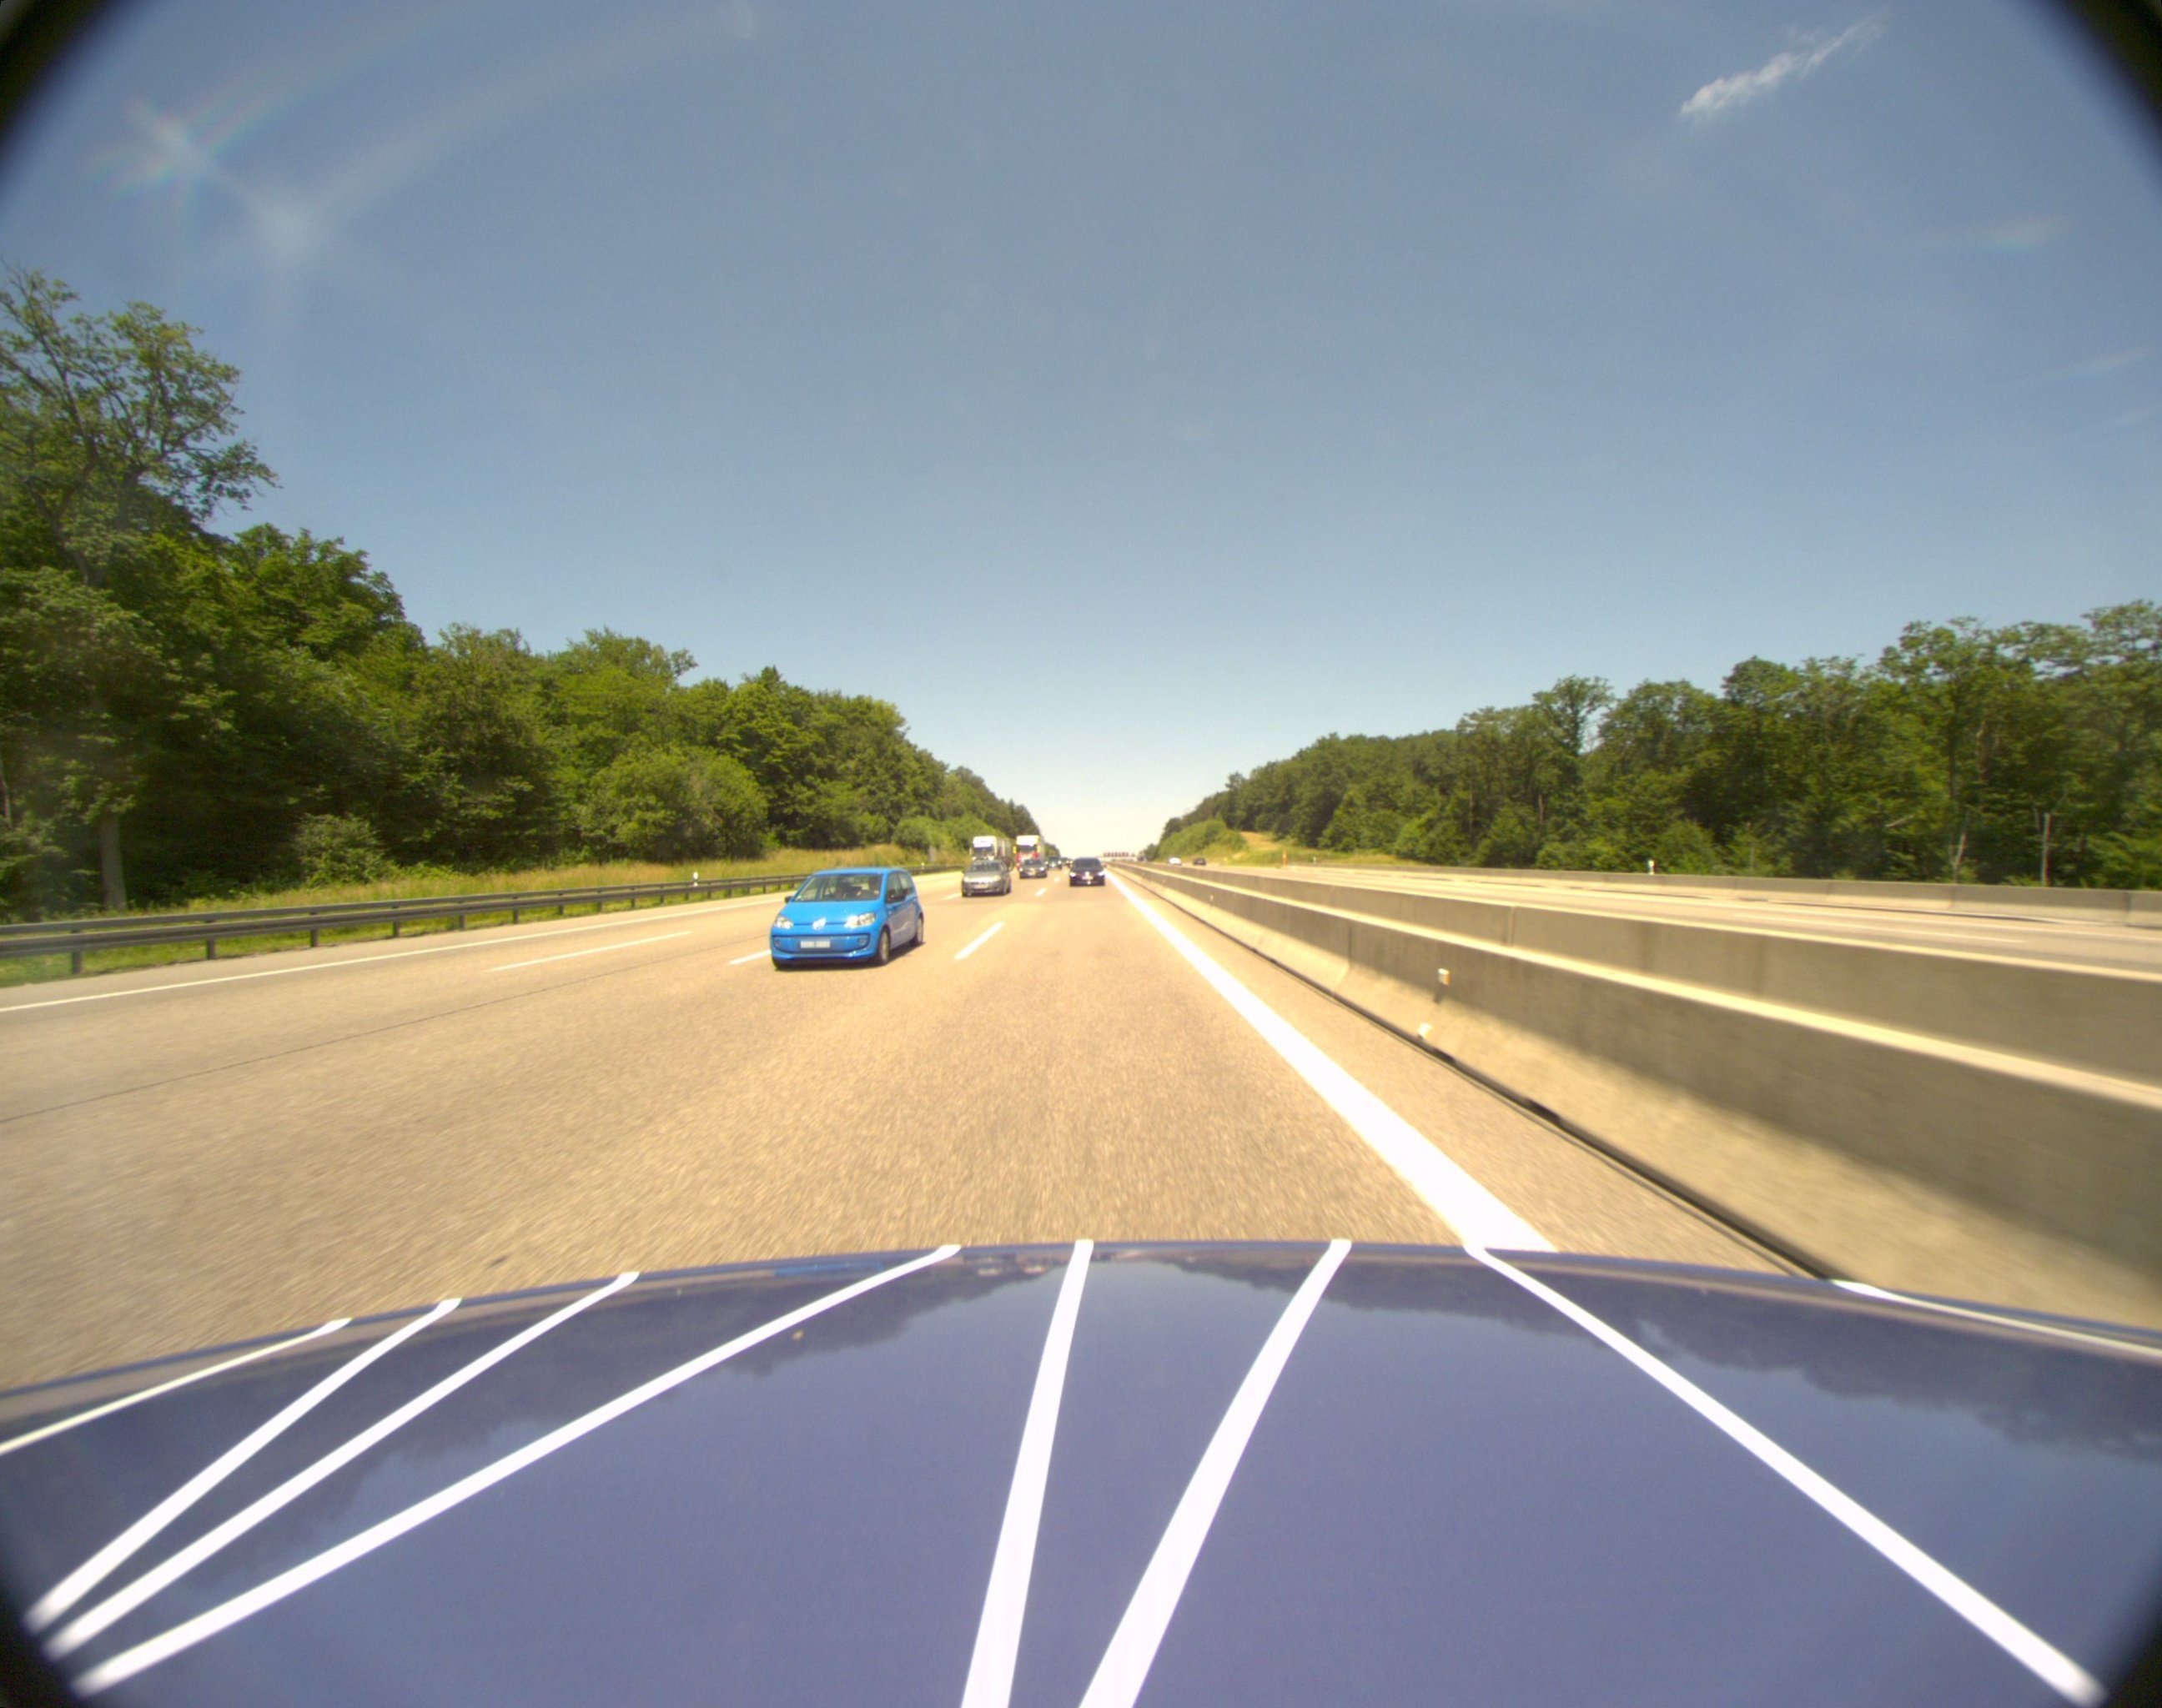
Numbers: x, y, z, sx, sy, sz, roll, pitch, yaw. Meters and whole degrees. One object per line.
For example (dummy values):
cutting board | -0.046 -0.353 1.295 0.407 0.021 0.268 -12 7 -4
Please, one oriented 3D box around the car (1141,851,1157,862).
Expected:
car | 9.398 0.373 104.849 1.843 1.433 4.845 -1 0 0

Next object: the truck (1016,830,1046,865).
truck | -5.971 -0.688 92.114 3.018 3.957 7.541 -2 -1 1

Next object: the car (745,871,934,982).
car | -3.712 1.050 12.463 1.741 1.403 4.000 -1 0 1

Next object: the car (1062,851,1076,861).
car | -1.902 0.383 120.406 1.910 1.503 4.160 -2 -1 2

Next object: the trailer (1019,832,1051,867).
trailer | -5.824 -0.438 99.100 2.926 4.118 14.852 -1 -1 1

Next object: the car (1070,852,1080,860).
car | -1.218 0.413 155.474 1.715 1.308 3.490 -5 1 1

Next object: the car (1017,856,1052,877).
car | -3.323 0.910 55.520 1.971 1.444 5.226 -2 -1 3

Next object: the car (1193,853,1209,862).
car | 20.619 0.577 130.645 1.843 1.433 4.763 1 0 0

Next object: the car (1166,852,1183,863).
car | 12.538 0.512 101.932 1.843 1.433 4.000 -1 0 0

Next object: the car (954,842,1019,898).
car | -3.822 0.631 31.596 1.966 2.041 4.784 -3 0 1

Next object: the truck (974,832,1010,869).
truck | -10.509 -0.316 90.967 2.728 4.136 10.971 -2 -1 1

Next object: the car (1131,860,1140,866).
car | 15.214 2.471 211.242 1.998 1.665 5.281 1 0 0

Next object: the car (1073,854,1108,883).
car | 0.543 0.800 42.306 1.777 1.425 4.144 -2 -1 1

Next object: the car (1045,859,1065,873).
car | -2.968 1.385 86.493 1.910 1.503 4.160 -2 -1 2

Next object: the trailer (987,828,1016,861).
trailer | -10.376 -1.171 99.470 2.585 4.045 8.384 -2 -1 1
